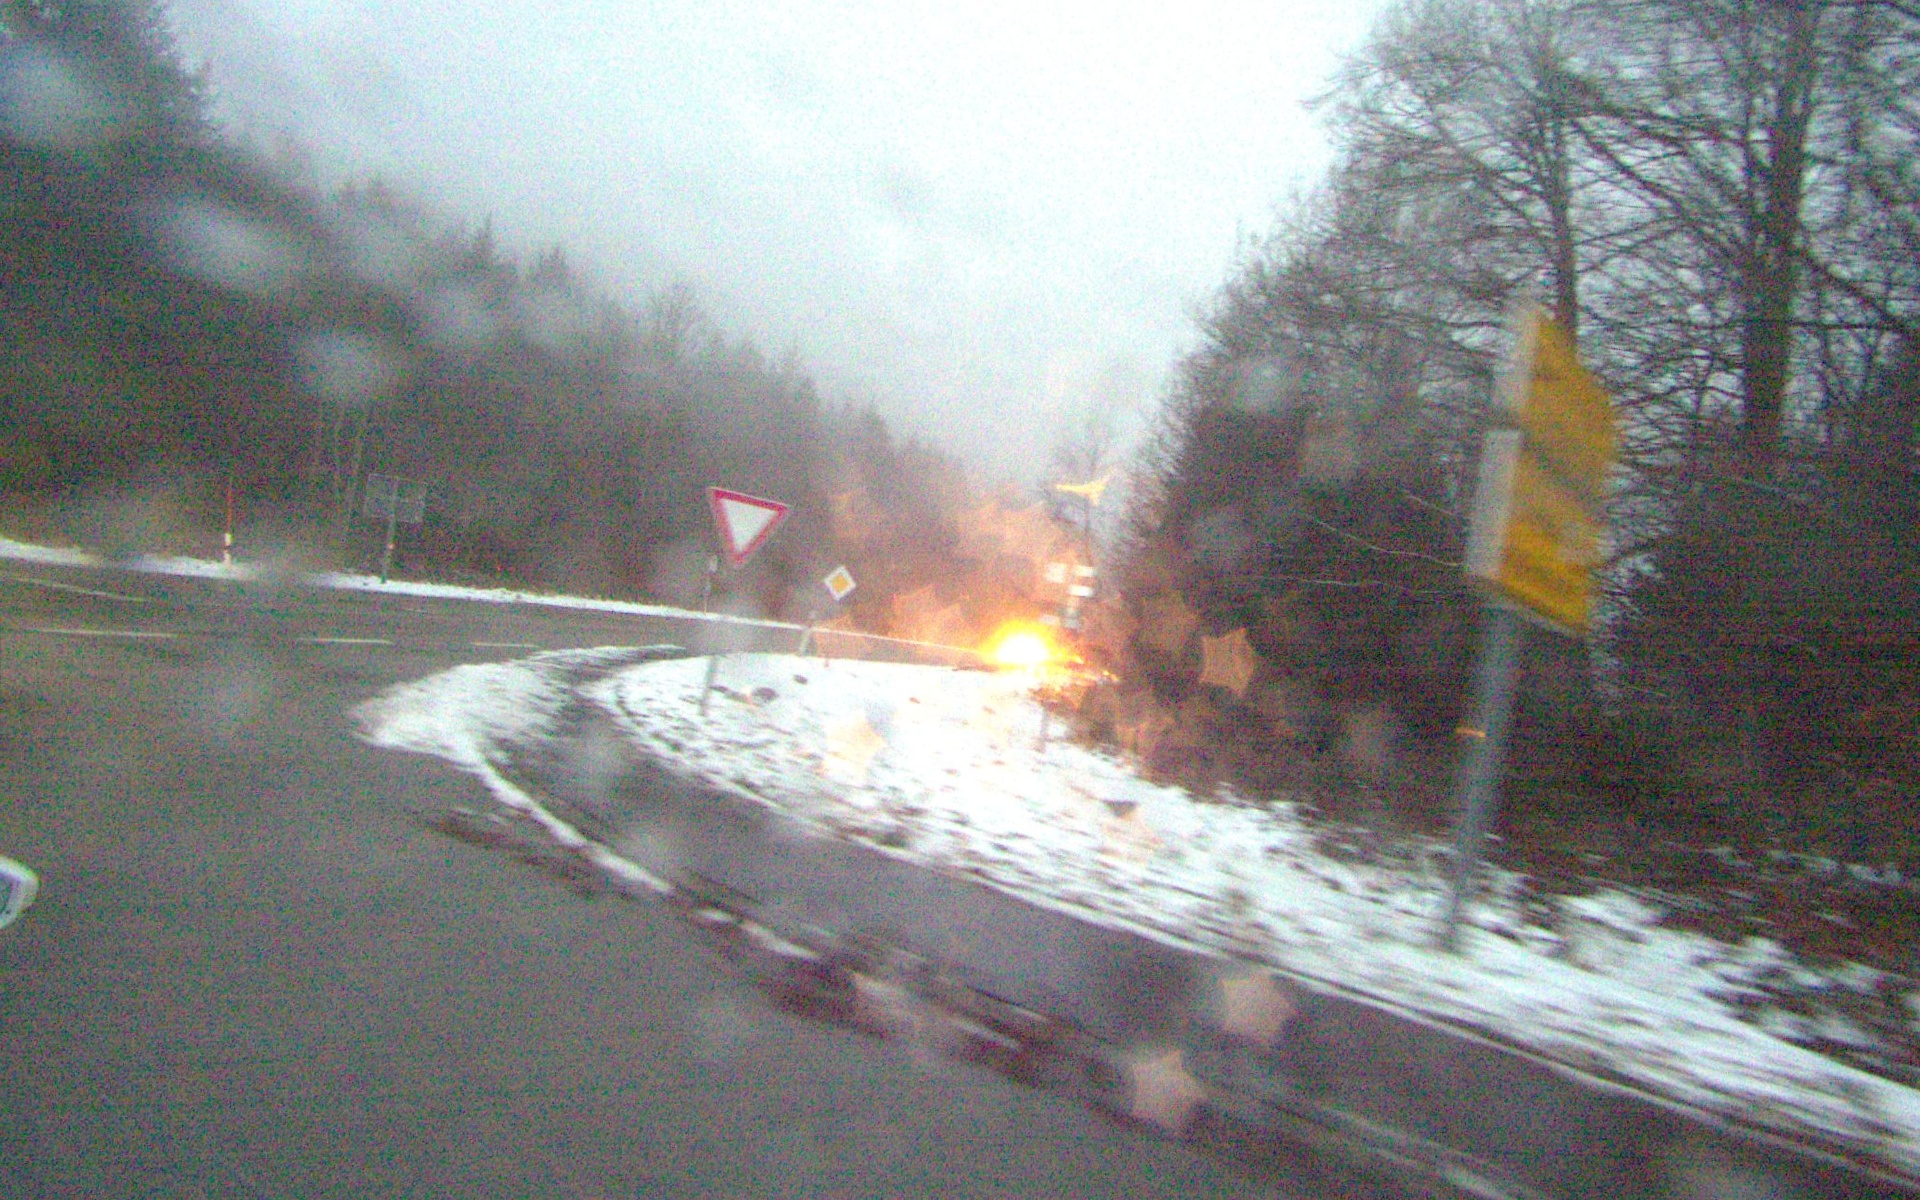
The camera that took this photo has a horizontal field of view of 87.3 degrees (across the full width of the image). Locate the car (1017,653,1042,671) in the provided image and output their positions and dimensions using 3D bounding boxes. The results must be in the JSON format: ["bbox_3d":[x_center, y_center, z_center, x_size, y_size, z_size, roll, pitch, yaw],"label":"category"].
[{"bbox_3d":[6.692,5.971,96.485,1.547,1.469,3.416,7,-1,16],"label":"car"}]
